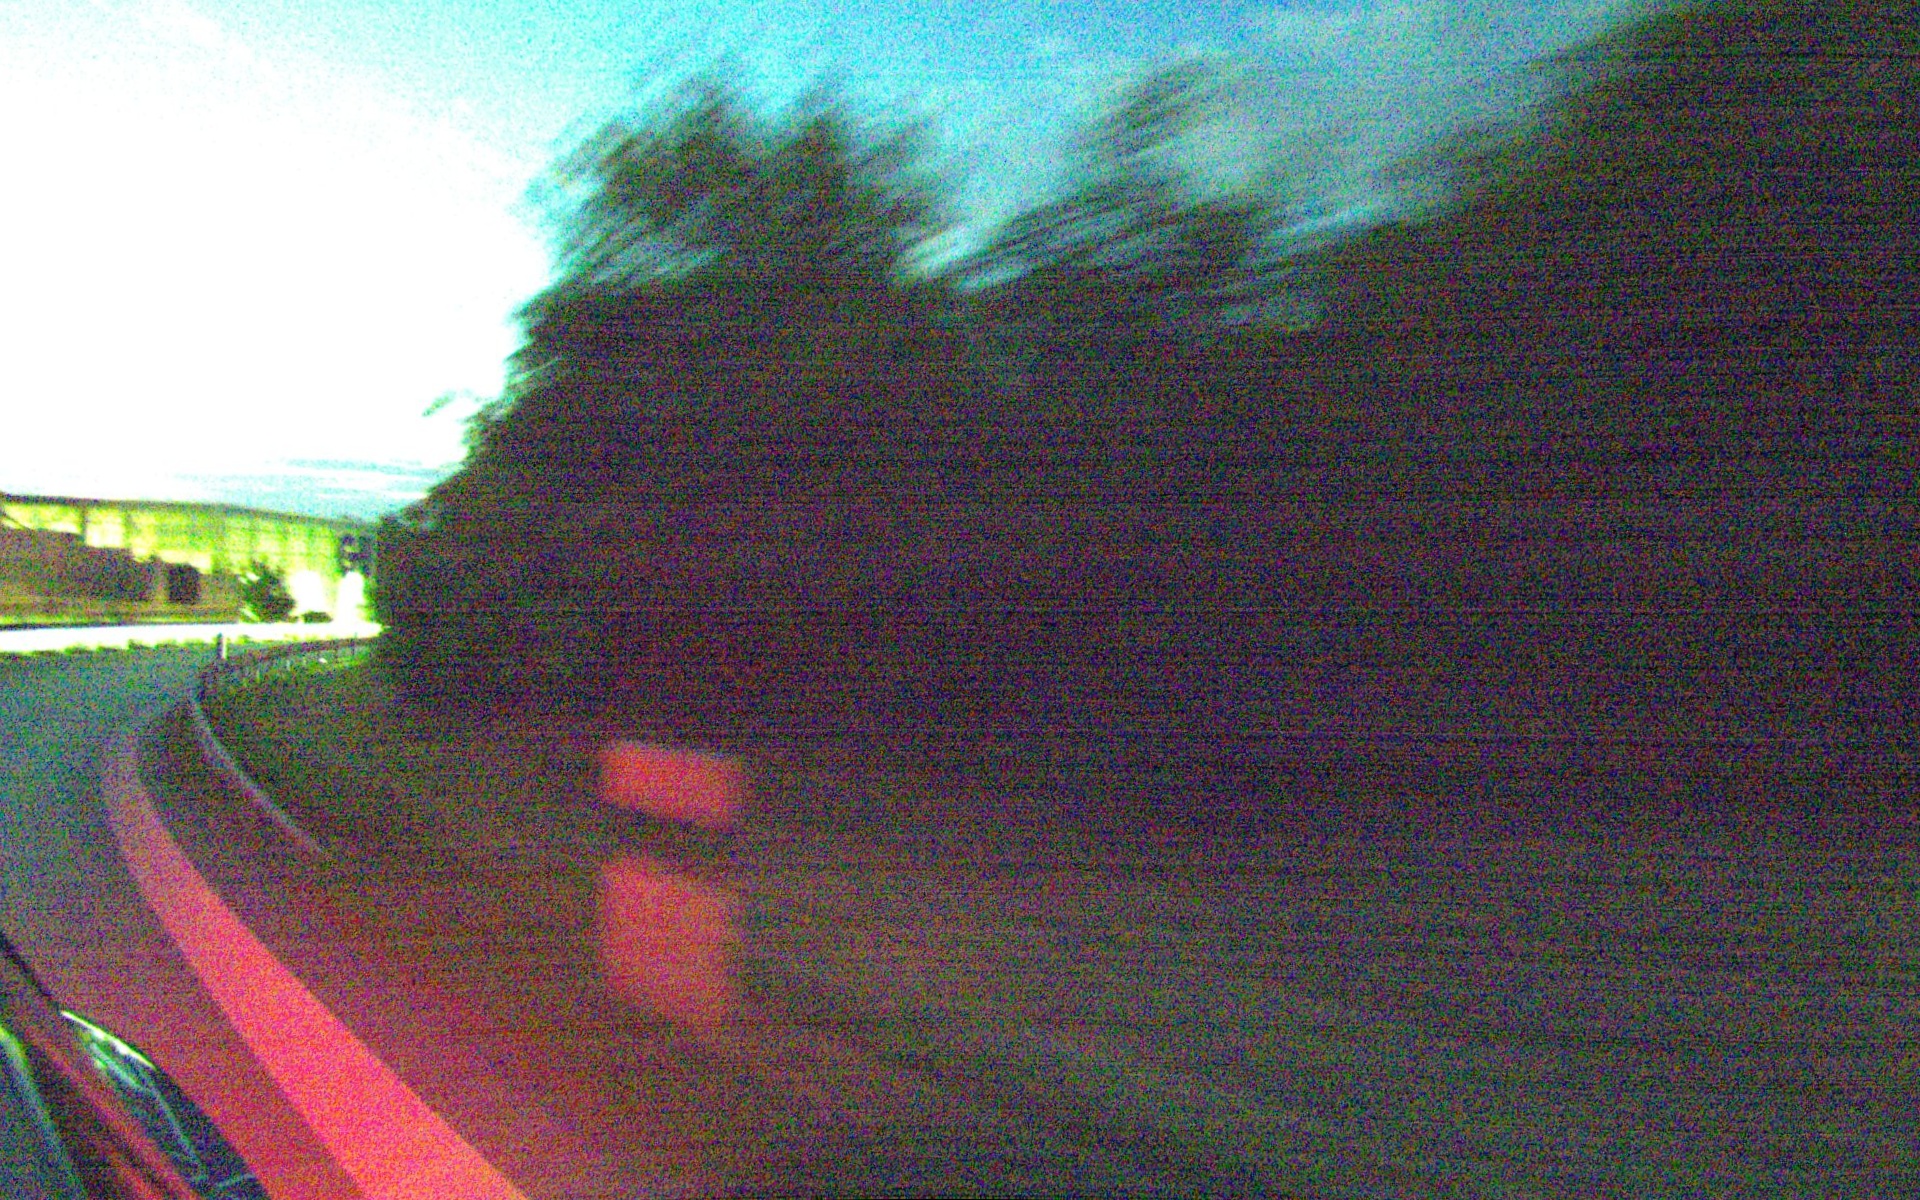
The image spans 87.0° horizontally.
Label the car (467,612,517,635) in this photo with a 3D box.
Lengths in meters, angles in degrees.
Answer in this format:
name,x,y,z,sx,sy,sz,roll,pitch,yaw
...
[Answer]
name,x,y,z,sx,sy,sz,roll,pitch,yaw
car,-31.627,1.553,68.509,1.737,1.470,4.198,1,-1,-6
